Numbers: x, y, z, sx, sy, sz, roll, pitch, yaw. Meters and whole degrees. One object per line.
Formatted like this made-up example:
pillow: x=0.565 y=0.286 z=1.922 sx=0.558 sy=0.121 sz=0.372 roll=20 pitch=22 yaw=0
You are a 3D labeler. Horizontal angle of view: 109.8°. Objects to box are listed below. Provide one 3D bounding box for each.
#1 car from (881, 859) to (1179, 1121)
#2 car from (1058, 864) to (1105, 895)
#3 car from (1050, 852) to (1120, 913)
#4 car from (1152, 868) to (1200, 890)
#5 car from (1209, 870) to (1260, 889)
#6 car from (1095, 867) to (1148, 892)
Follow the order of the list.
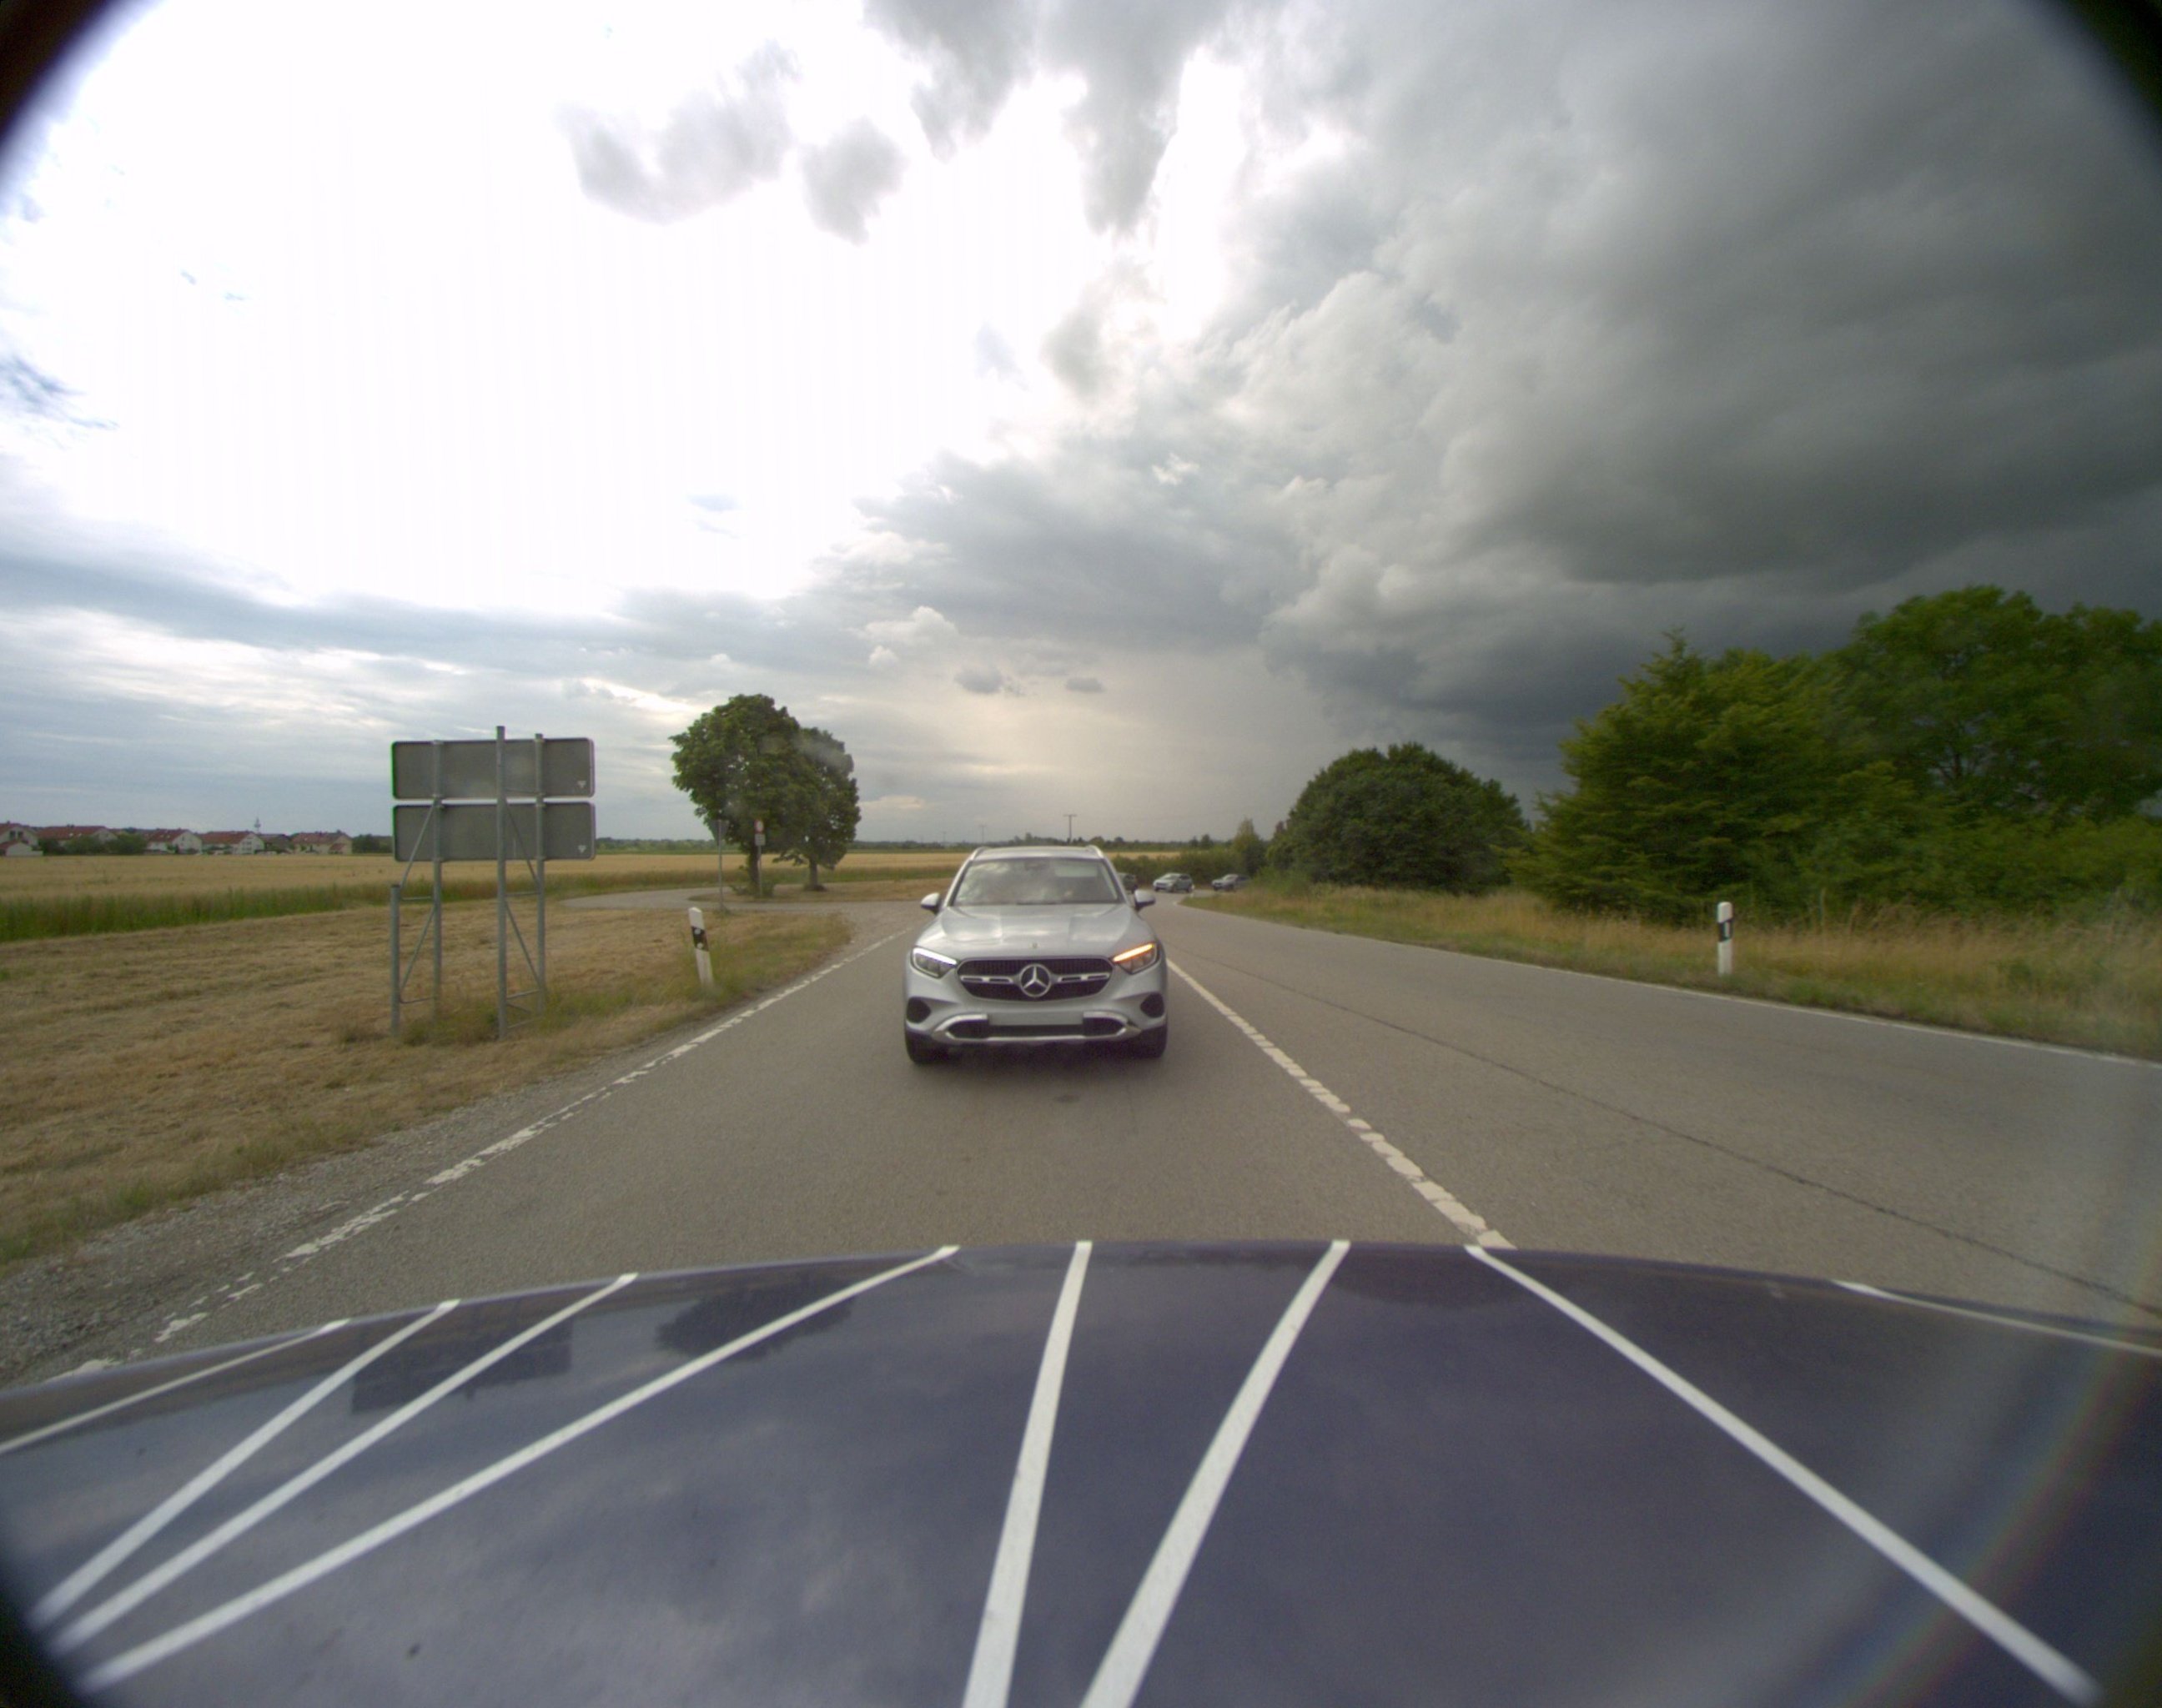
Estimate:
car: x=-0.384 y=0.860 z=6.961 sx=1.837 sy=1.577 sz=4.449 roll=-1 pitch=0 yaw=-2
car: x=0.091 y=1.561 z=48.173 sx=1.997 sy=1.709 sz=5.214 roll=3 pitch=0 yaw=10
car: x=0.157 y=0.944 z=25.283 sx=1.998 sy=1.709 sz=5.210 roll=3 pitch=-2 yaw=1
car: x=8.241 y=2.180 z=65.731 sx=1.994 sy=1.709 sz=5.221 roll=3 pitch=0 yaw=32
car: x=14.987 y=2.459 z=73.966 sx=5.219 sy=1.710 sz=1.994 roll=1 pitch=2 yaw=-39
car: x=3.111 y=1.889 z=56.866 sx=1.994 sy=1.709 sz=5.219 roll=3 pitch=0 yaw=26
